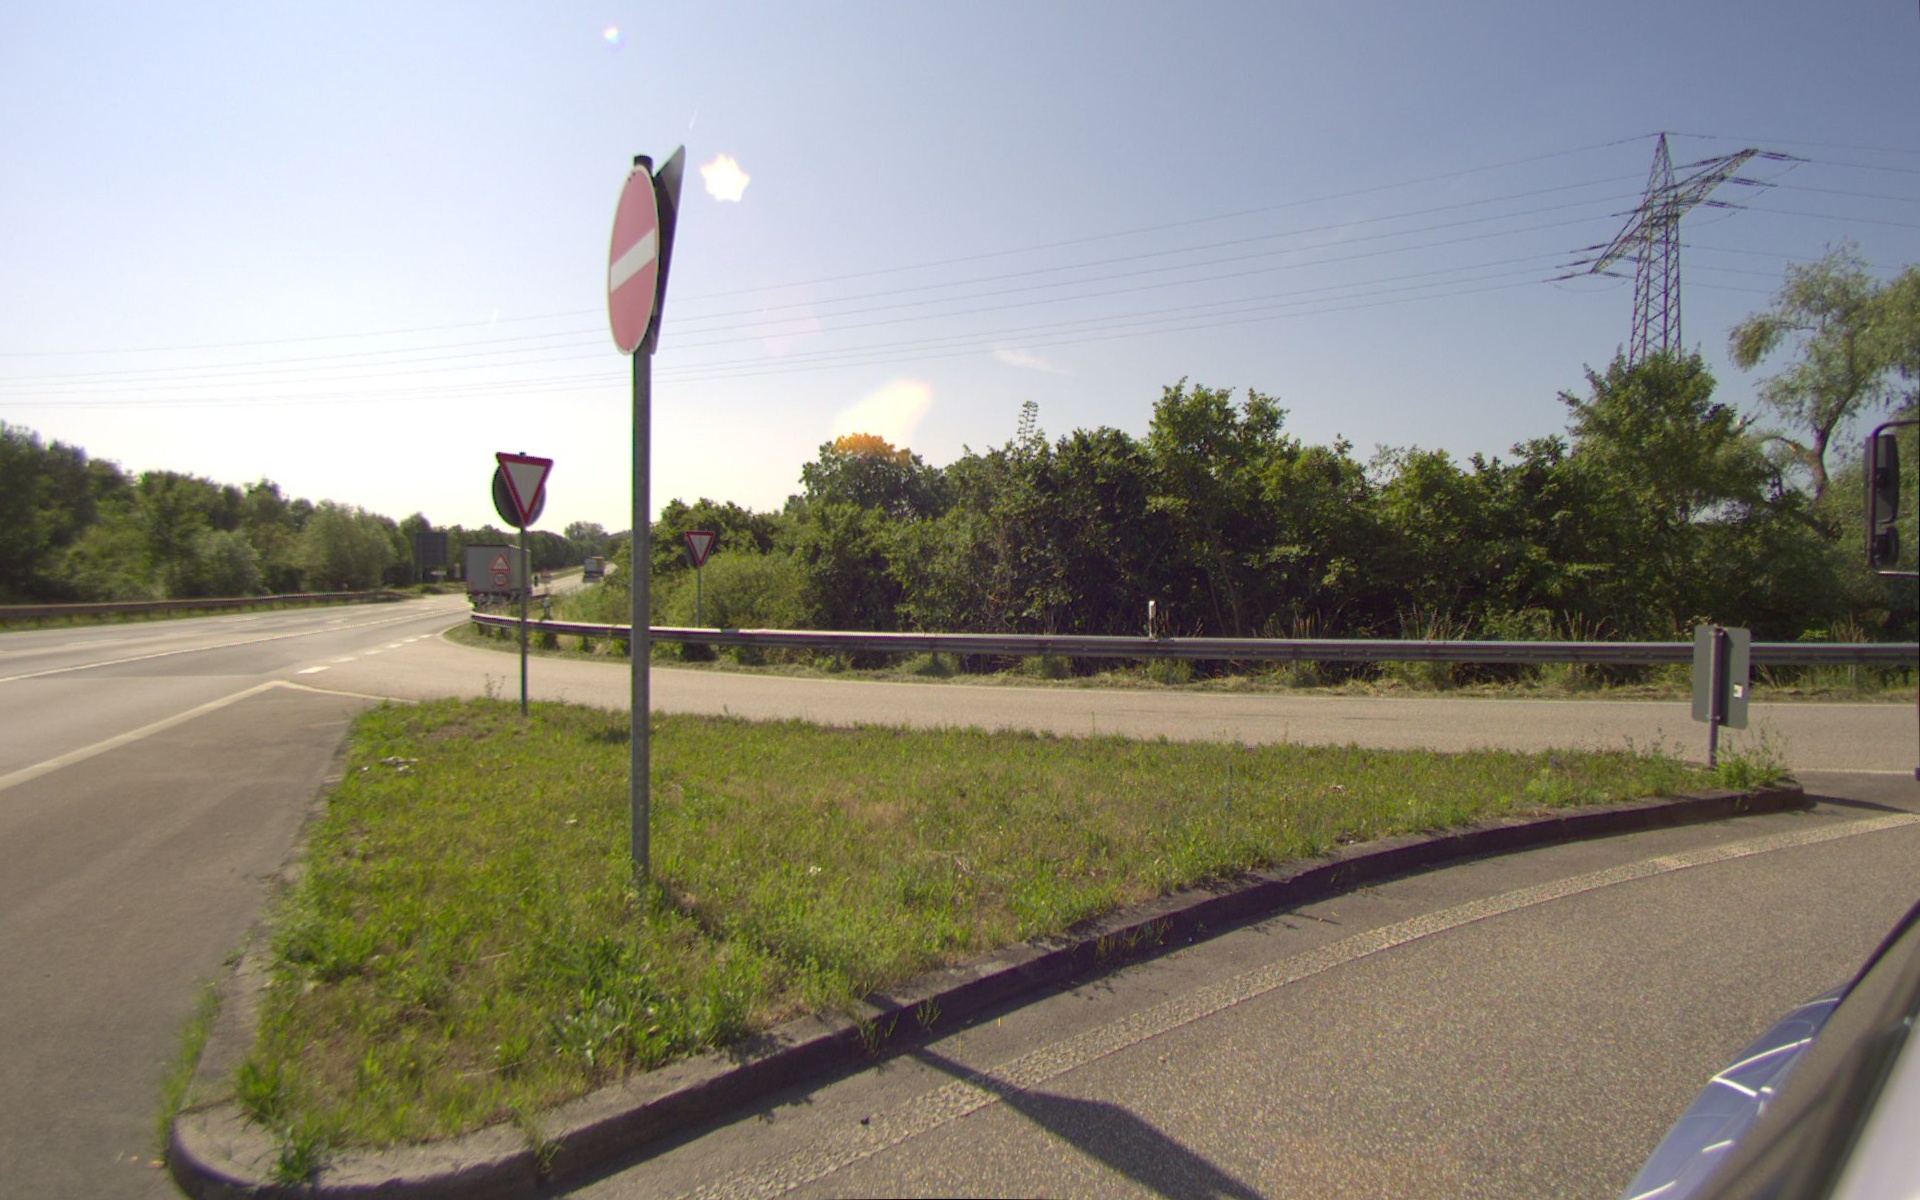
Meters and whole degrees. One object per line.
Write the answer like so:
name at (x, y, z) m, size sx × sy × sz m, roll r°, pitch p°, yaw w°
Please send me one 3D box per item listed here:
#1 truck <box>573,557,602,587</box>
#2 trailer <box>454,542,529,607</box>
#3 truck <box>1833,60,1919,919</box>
truck at (-71.161, -5.259, 193.402) m, size 4.051 × 5.524 × 13.635 m, roll 0°, pitch 1°, yaw -15°
trailer at (-32.072, -1.719, 69.865) m, size 2.869 × 4.060 × 13.446 m, roll 0°, pitch 1°, yaw -17°
truck at (8.694, -0.468, 5.312) m, size 9.070 × 3.707 × 2.696 m, roll 0°, pitch 0°, yaw -25°
